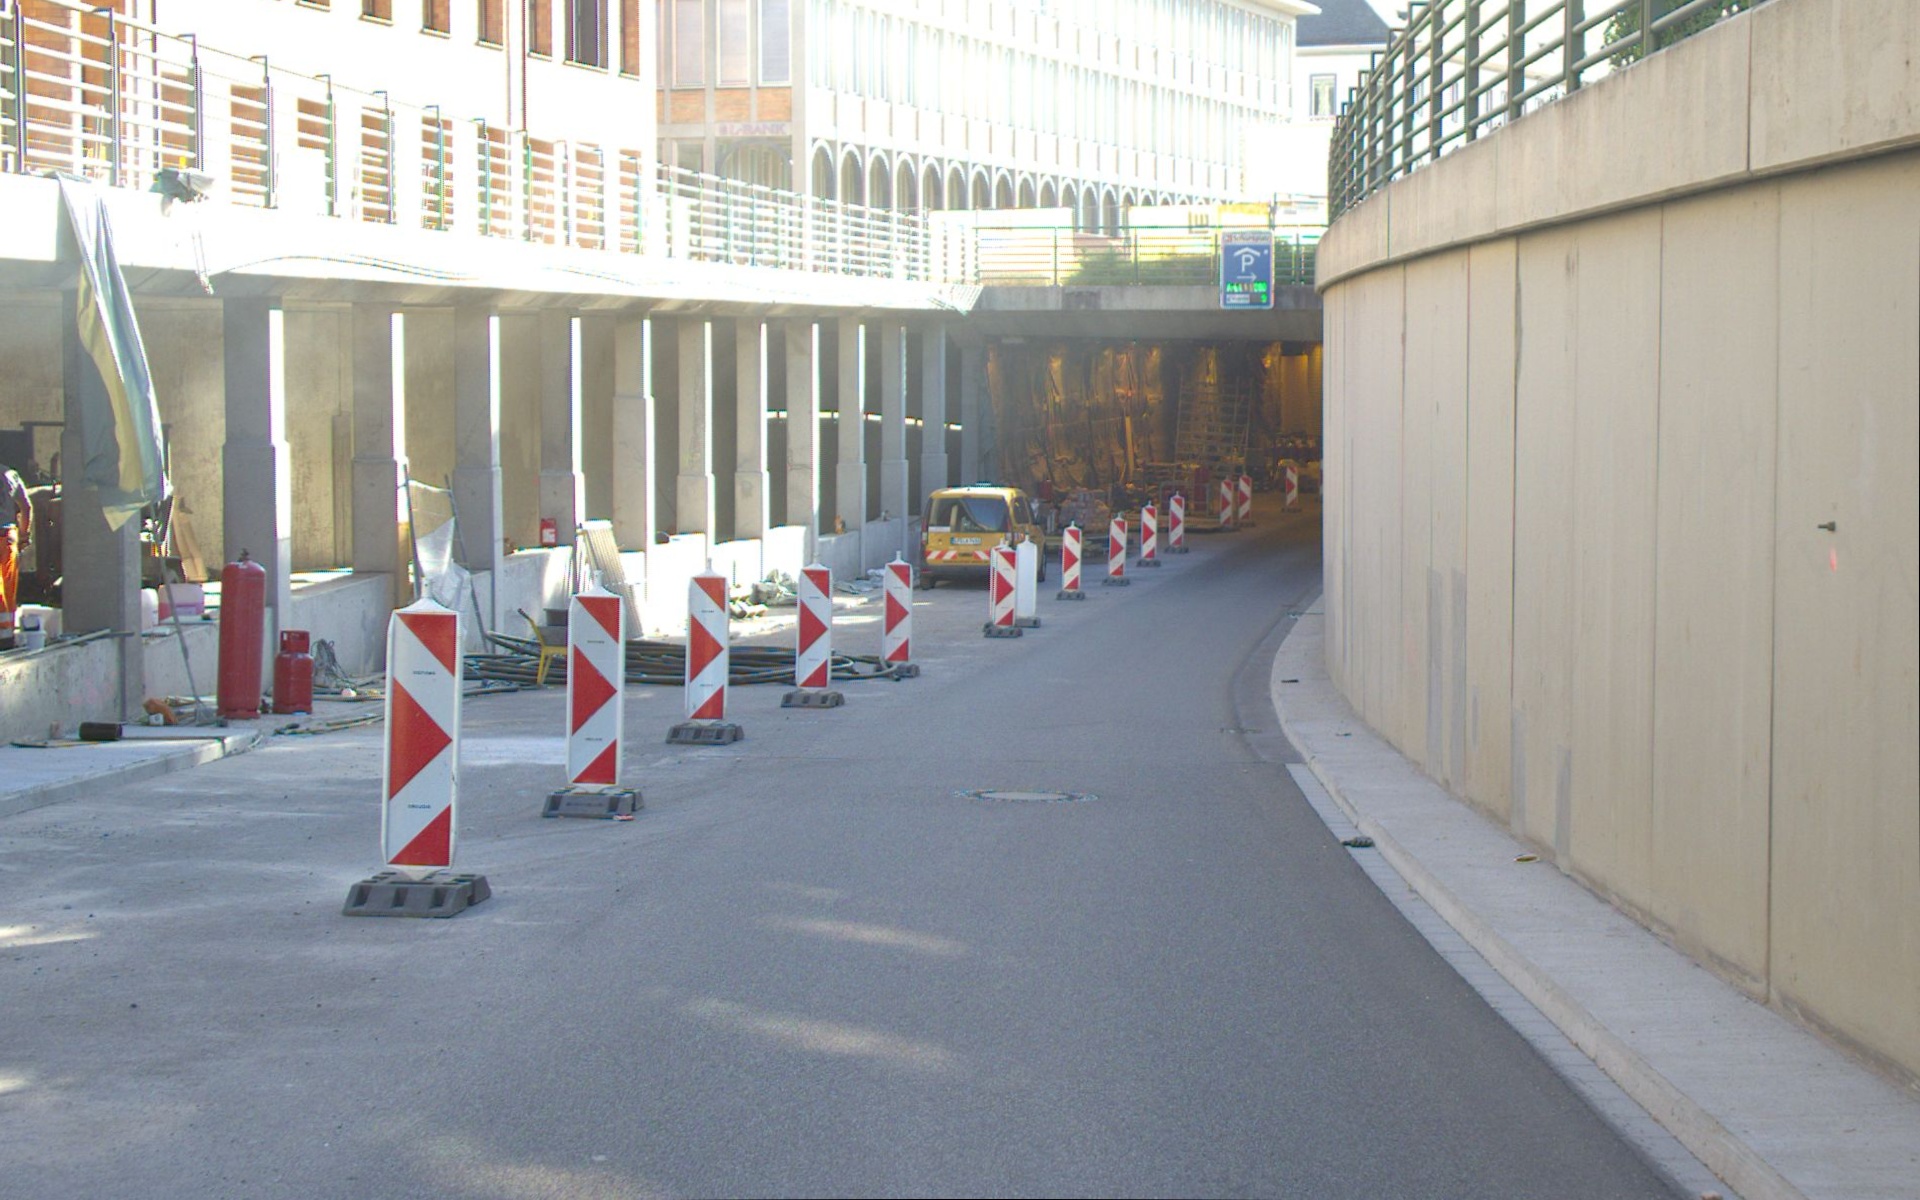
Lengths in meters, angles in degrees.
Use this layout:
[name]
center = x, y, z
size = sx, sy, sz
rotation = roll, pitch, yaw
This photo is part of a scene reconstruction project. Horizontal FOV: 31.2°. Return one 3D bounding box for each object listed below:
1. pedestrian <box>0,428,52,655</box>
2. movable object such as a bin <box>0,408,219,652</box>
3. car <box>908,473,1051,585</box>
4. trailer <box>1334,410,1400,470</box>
[pedestrian]
center = -7.762, -0.476, 27.640
size = 0.657, 1.798, 0.624
rotation = 2, 1, 12
[movable object such as a bin]
center = -7.745, -0.639, 29.759
size = 1.885, 1.980, 3.159
rotation = 1, 2, 2
[car]
center = 0.395, -1.313, 61.379
size = 1.849, 1.769, 4.433
rotation = 1, 4, 9
[trailer]
center = 13.059, -5.150, 110.226
size = 1.582, 1.791, 2.938
rotation = 2, 5, 16
